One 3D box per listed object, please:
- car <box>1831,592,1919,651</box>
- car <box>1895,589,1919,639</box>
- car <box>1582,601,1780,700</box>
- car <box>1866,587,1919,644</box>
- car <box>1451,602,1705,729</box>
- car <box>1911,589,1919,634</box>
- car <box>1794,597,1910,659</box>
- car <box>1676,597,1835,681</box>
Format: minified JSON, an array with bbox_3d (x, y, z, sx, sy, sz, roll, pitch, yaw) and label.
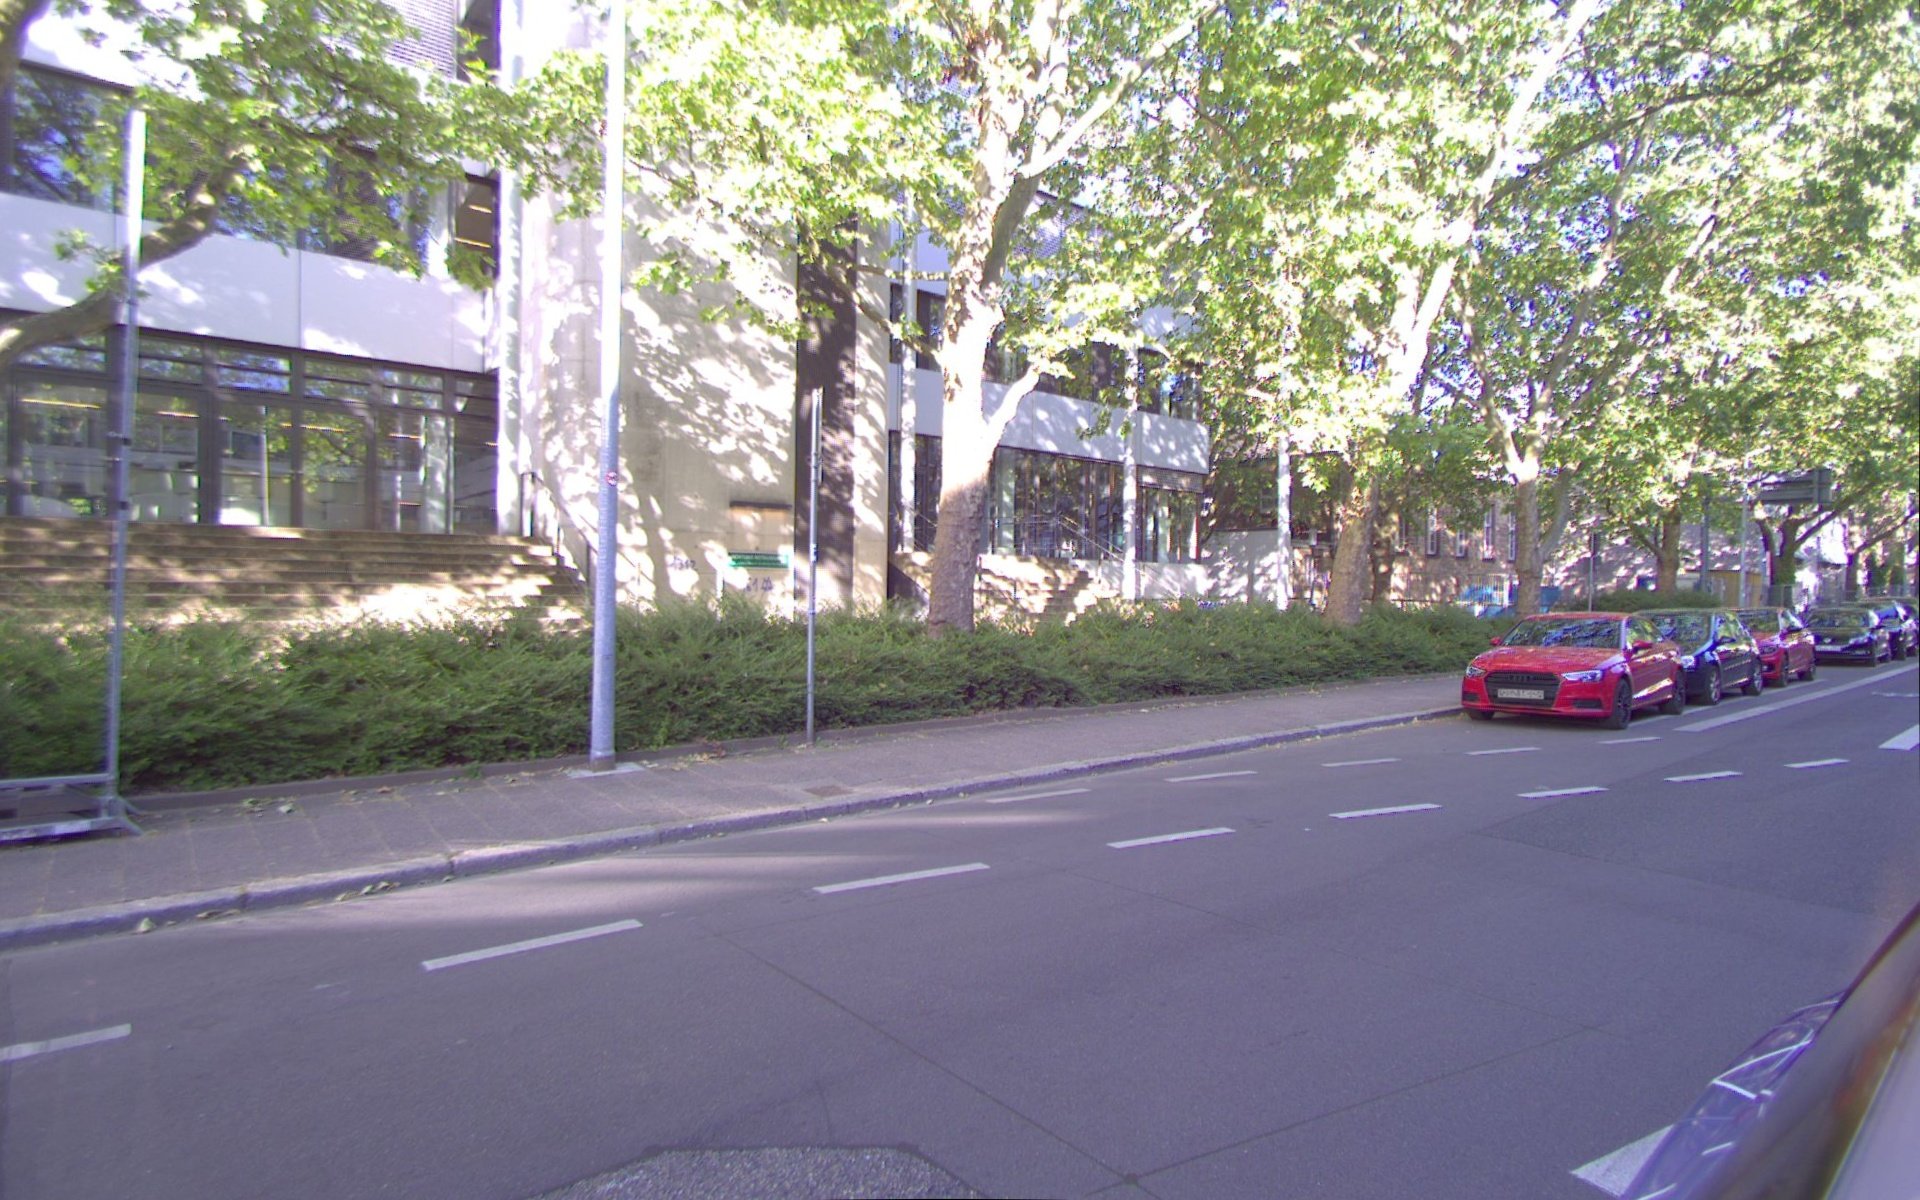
[{"bbox_3d":[26.597,0.585,29.135,4.092,1.573,1.788,0,-1,-42],"label":"car"},{"bbox_3d":[35.910,0.479,37.253,4.475,1.777,1.788,0,-1,-42],"label":"car"},{"bbox_3d":[11.954,0.735,16.689,4.092,1.431,1.815,0,-1,-42],"label":"car"},{"bbox_3d":[31.057,0.484,33.018,4.271,1.777,1.788,0,-1,-42],"label":"car"},{"bbox_3d":[8.361,0.750,13.550,4.092,1.431,1.815,0,-1,-42],"label":"car"},{"bbox_3d":[39.627,0.433,40.404,4.475,1.777,2.040,0,-1,-42],"label":"car"},{"bbox_3d":[23.052,0.676,26.103,4.092,1.478,1.788,0,-1,-42],"label":"car"},{"bbox_3d":[15.860,0.697,20.110,4.092,1.502,1.815,0,-1,-42],"label":"car"}]
